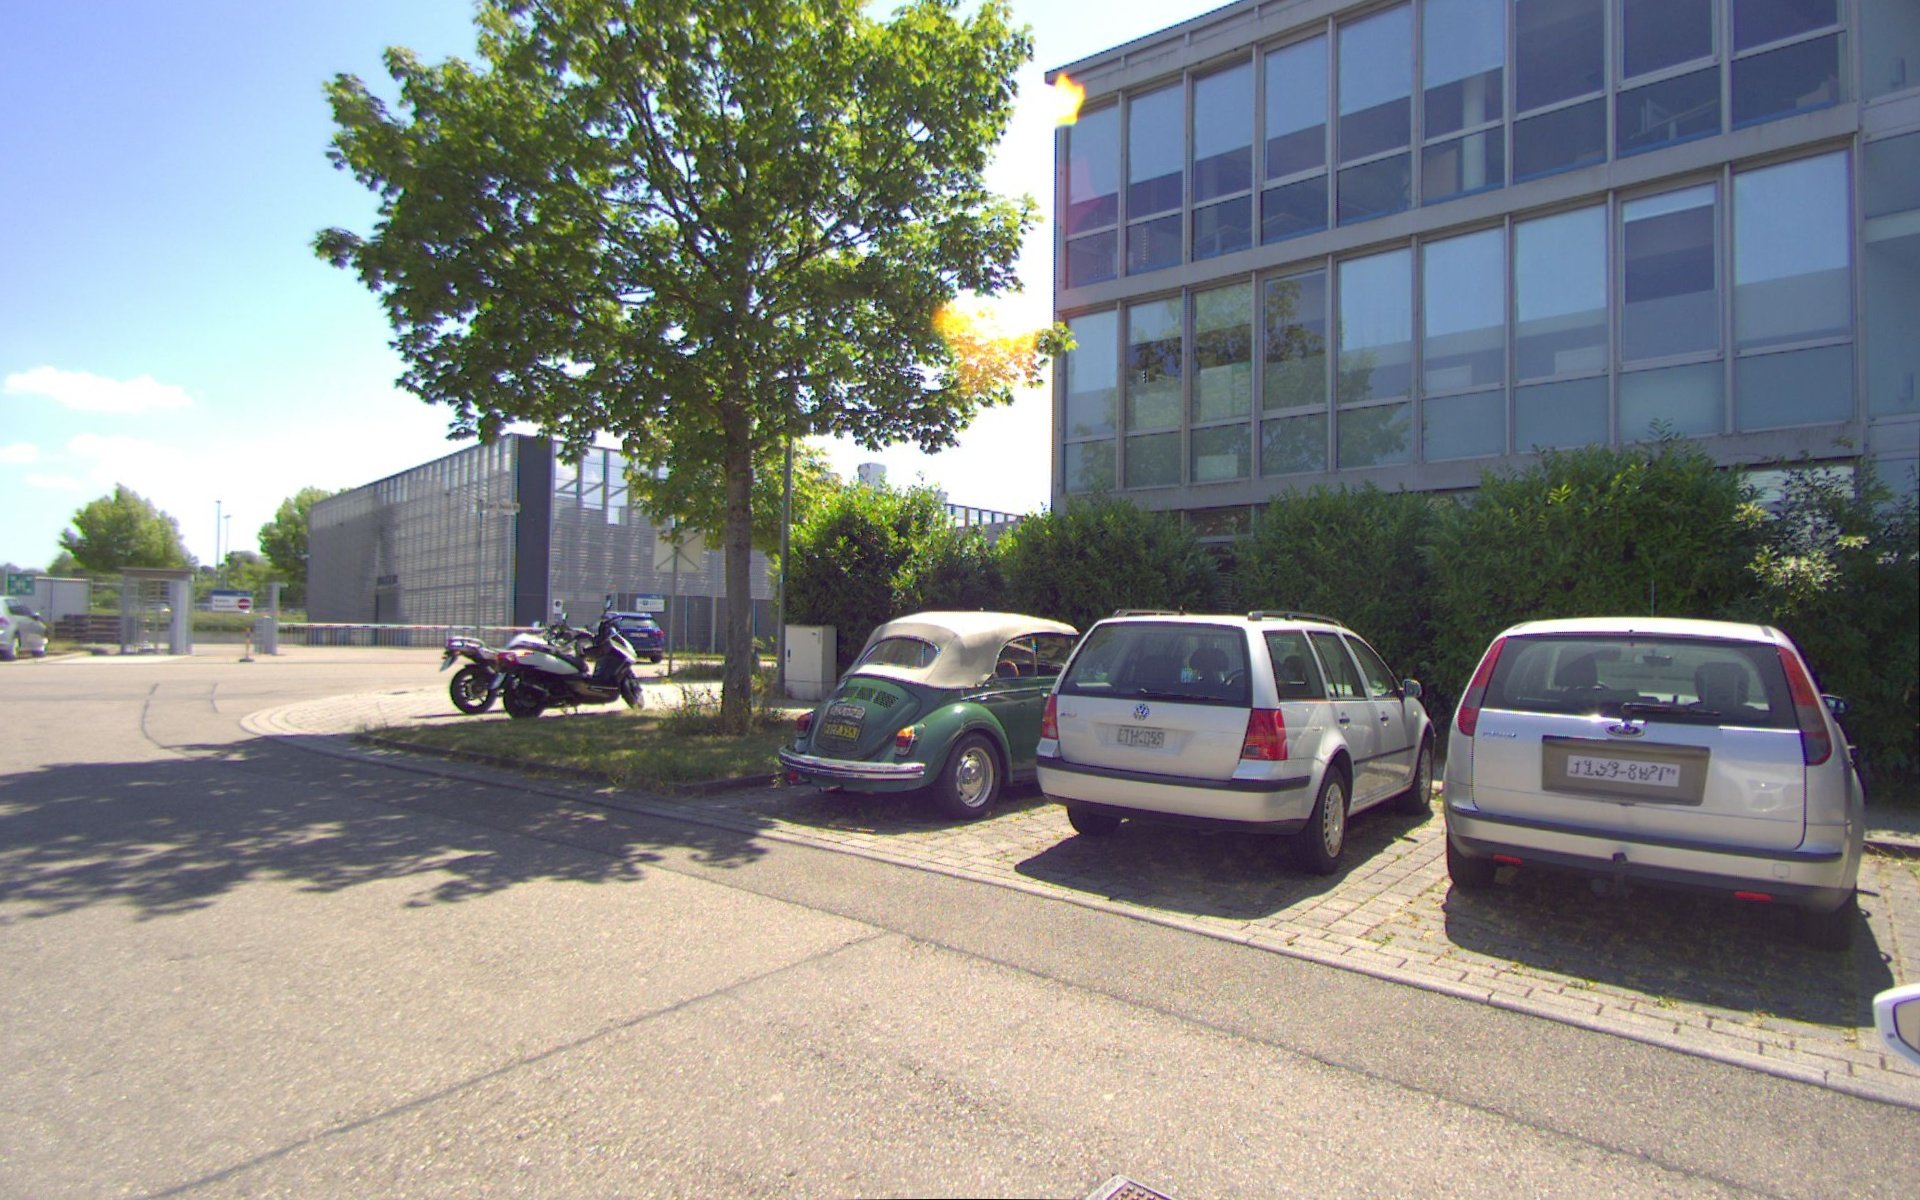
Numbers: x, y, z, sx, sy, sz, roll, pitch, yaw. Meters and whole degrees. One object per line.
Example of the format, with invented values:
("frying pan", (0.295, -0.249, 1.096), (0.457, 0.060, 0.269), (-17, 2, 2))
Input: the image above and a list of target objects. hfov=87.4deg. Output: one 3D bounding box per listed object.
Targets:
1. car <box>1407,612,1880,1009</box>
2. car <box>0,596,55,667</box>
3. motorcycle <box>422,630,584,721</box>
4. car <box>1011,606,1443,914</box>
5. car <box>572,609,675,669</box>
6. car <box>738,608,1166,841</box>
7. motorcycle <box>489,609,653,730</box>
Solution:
("car", (4.202, 0.883, 6.074), (1.698, 1.498, 4.330), (0, -2, 39))
("car", (-22.438, 0.675, 23.125), (1.635, 1.542, 3.966), (2, -2, -31))
("motorcycle", (-6.070, 0.973, 13.460), (0.476, 1.123, 1.983), (1, -1, 35))
("car", (2.099, 0.856, 7.000), (1.626, 1.498, 3.879), (0, -2, 36))
("car", (-9.945, 1.109, 29.510), (1.978, 1.616, 3.965), (2, -1, -32))
("car", (0.168, 0.861, 8.459), (1.626, 1.467, 3.879), (0, -2, 36))
("motorcycle", (-4.877, 0.840, 12.724), (0.476, 1.408, 1.983), (1, -1, 35))
